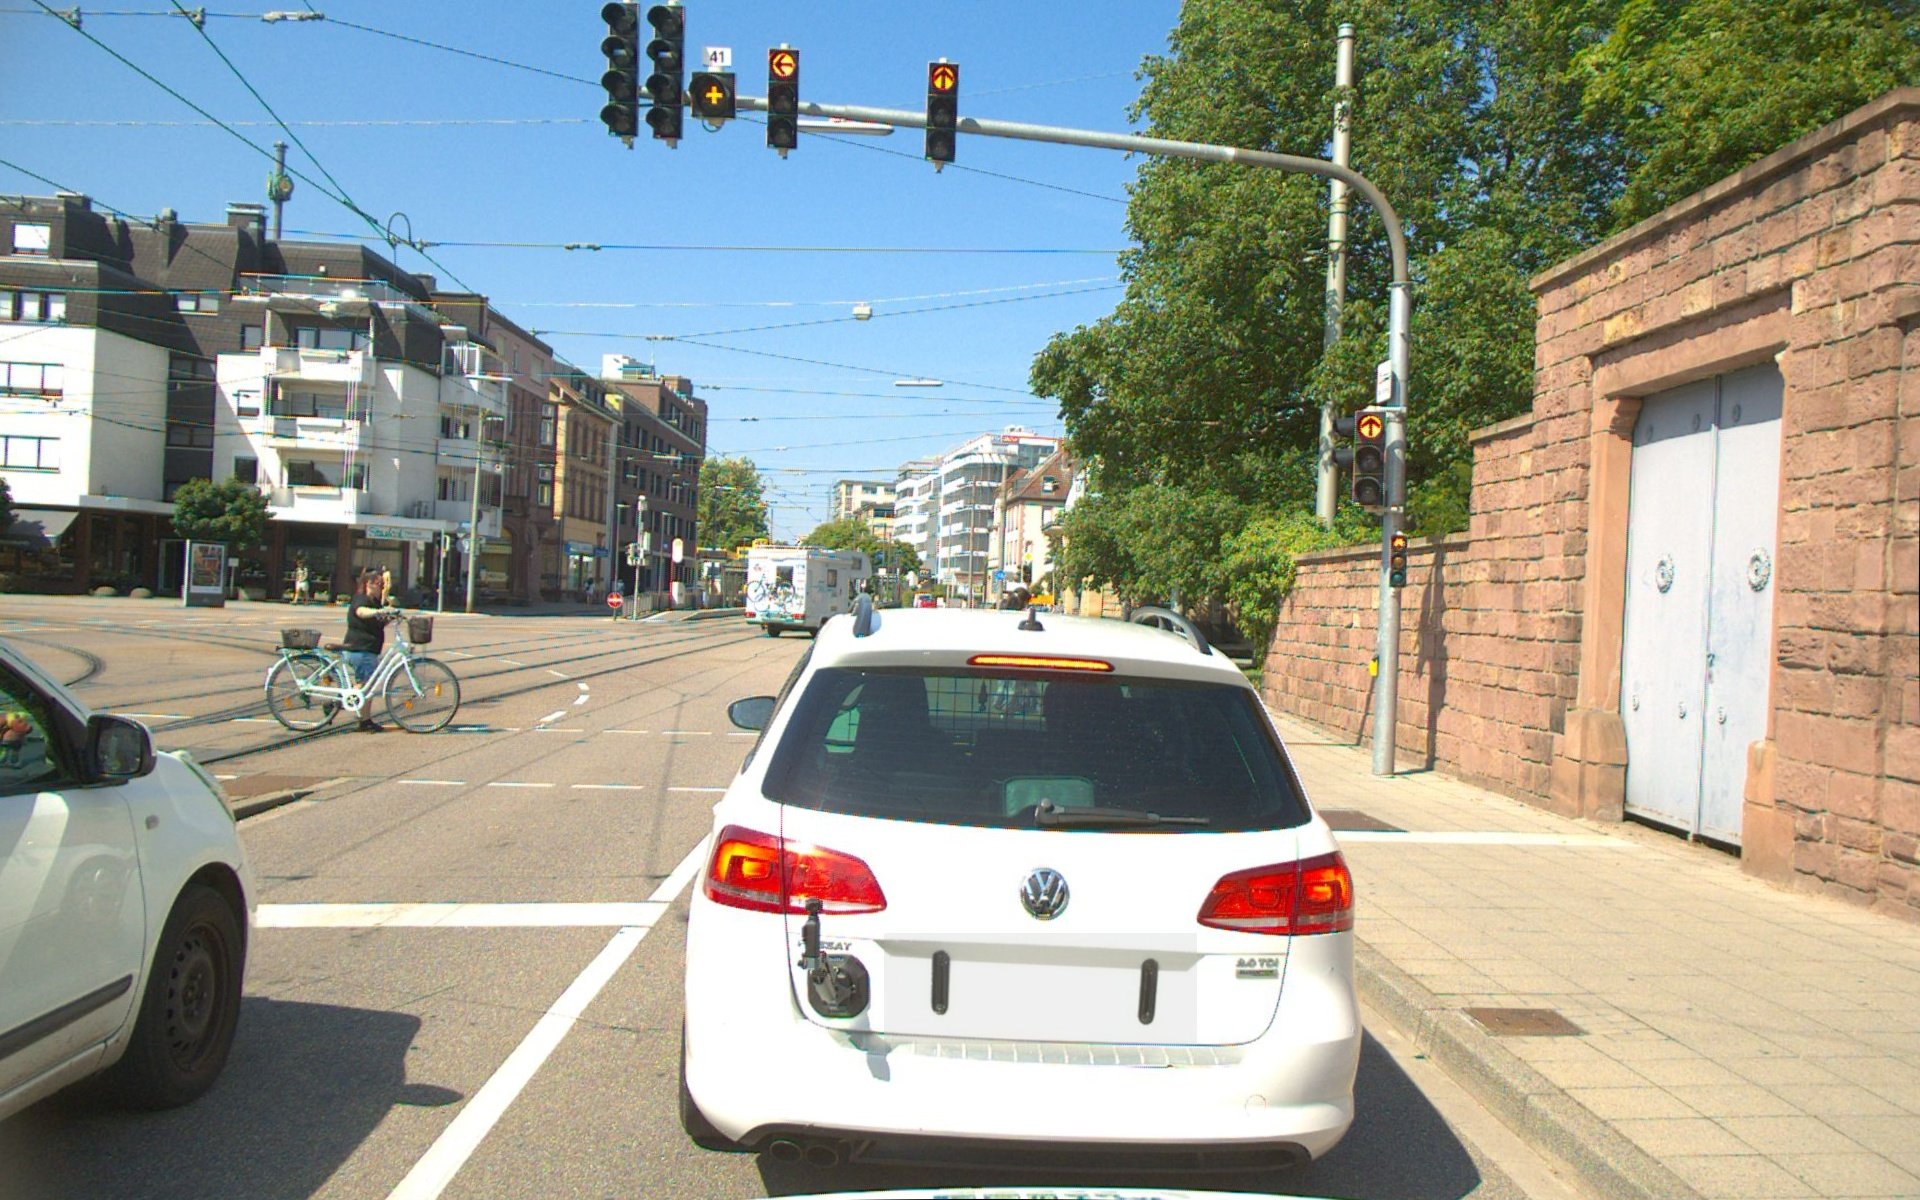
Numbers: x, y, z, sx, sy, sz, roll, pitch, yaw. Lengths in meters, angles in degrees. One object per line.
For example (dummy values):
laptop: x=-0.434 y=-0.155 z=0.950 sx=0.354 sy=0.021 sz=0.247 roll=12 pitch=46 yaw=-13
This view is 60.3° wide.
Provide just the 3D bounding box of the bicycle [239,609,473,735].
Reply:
bicycle: x=-5.670 y=0.680 z=15.653 sx=1.986 sy=1.109 sz=0.707 roll=2 pitch=0 yaw=-16

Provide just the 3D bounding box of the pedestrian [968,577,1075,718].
pedestrian: x=0.760 y=0.574 z=20.330 sx=0.936 sy=1.680 sz=0.972 roll=0 pitch=-1 yaw=34

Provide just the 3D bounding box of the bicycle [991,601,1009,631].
bicycle: x=1.809 y=0.710 z=74.597 sx=0.547 sy=1.320 sz=2.247 roll=1 pitch=-1 yaw=-5

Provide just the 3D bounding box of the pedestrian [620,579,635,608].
pedestrian: x=-21.090 y=-0.413 z=104.914 sx=0.845 sy=1.773 sz=0.973 roll=1 pitch=-1 yaw=-6

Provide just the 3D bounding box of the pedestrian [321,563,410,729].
pedestrian: x=-5.835 y=0.439 z=16.265 sx=0.733 sy=1.599 sz=0.673 roll=1 pitch=1 yaw=-15

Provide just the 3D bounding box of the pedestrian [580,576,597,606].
pedestrian: x=-22.168 y=-0.510 z=98.692 sx=0.845 sy=1.773 sz=0.973 roll=1 pitch=-1 yaw=-6

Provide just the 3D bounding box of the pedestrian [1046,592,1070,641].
pedestrian: x=3.584 y=0.615 z=60.383 sx=0.843 sy=1.773 sz=0.975 roll=0 pitch=-1 yaw=6

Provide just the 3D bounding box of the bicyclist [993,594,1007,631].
bicyclist: x=1.819 y=0.552 z=74.561 sx=0.550 sy=1.641 sz=0.637 roll=1 pitch=-1 yaw=-6

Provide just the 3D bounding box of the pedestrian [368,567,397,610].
pedestrian: x=-24.056 y=-0.483 z=68.846 sx=0.963 sy=1.773 sz=0.855 roll=1 pitch=-1 yaw=-33

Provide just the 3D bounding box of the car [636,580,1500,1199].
car: x=0.192 y=0.712 z=5.446 sx=1.771 sy=1.473 sz=3.999 roll=2 pitch=0 yaw=-1

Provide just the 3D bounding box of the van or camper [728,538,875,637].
van or camper: x=-5.265 y=-0.361 z=55.932 sx=2.515 sy=3.147 sz=5.700 roll=0 pitch=-1 yaw=23

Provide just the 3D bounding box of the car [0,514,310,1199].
car: x=-2.837 y=0.609 z=3.324 sx=1.608 sy=1.593 sz=3.803 roll=1 pitch=1 yaw=-1

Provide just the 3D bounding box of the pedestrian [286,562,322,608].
pedestrian: x=-25.884 y=-0.577 z=65.276 sx=0.846 sy=1.773 sz=0.973 roll=0 pitch=-1 yaw=31
